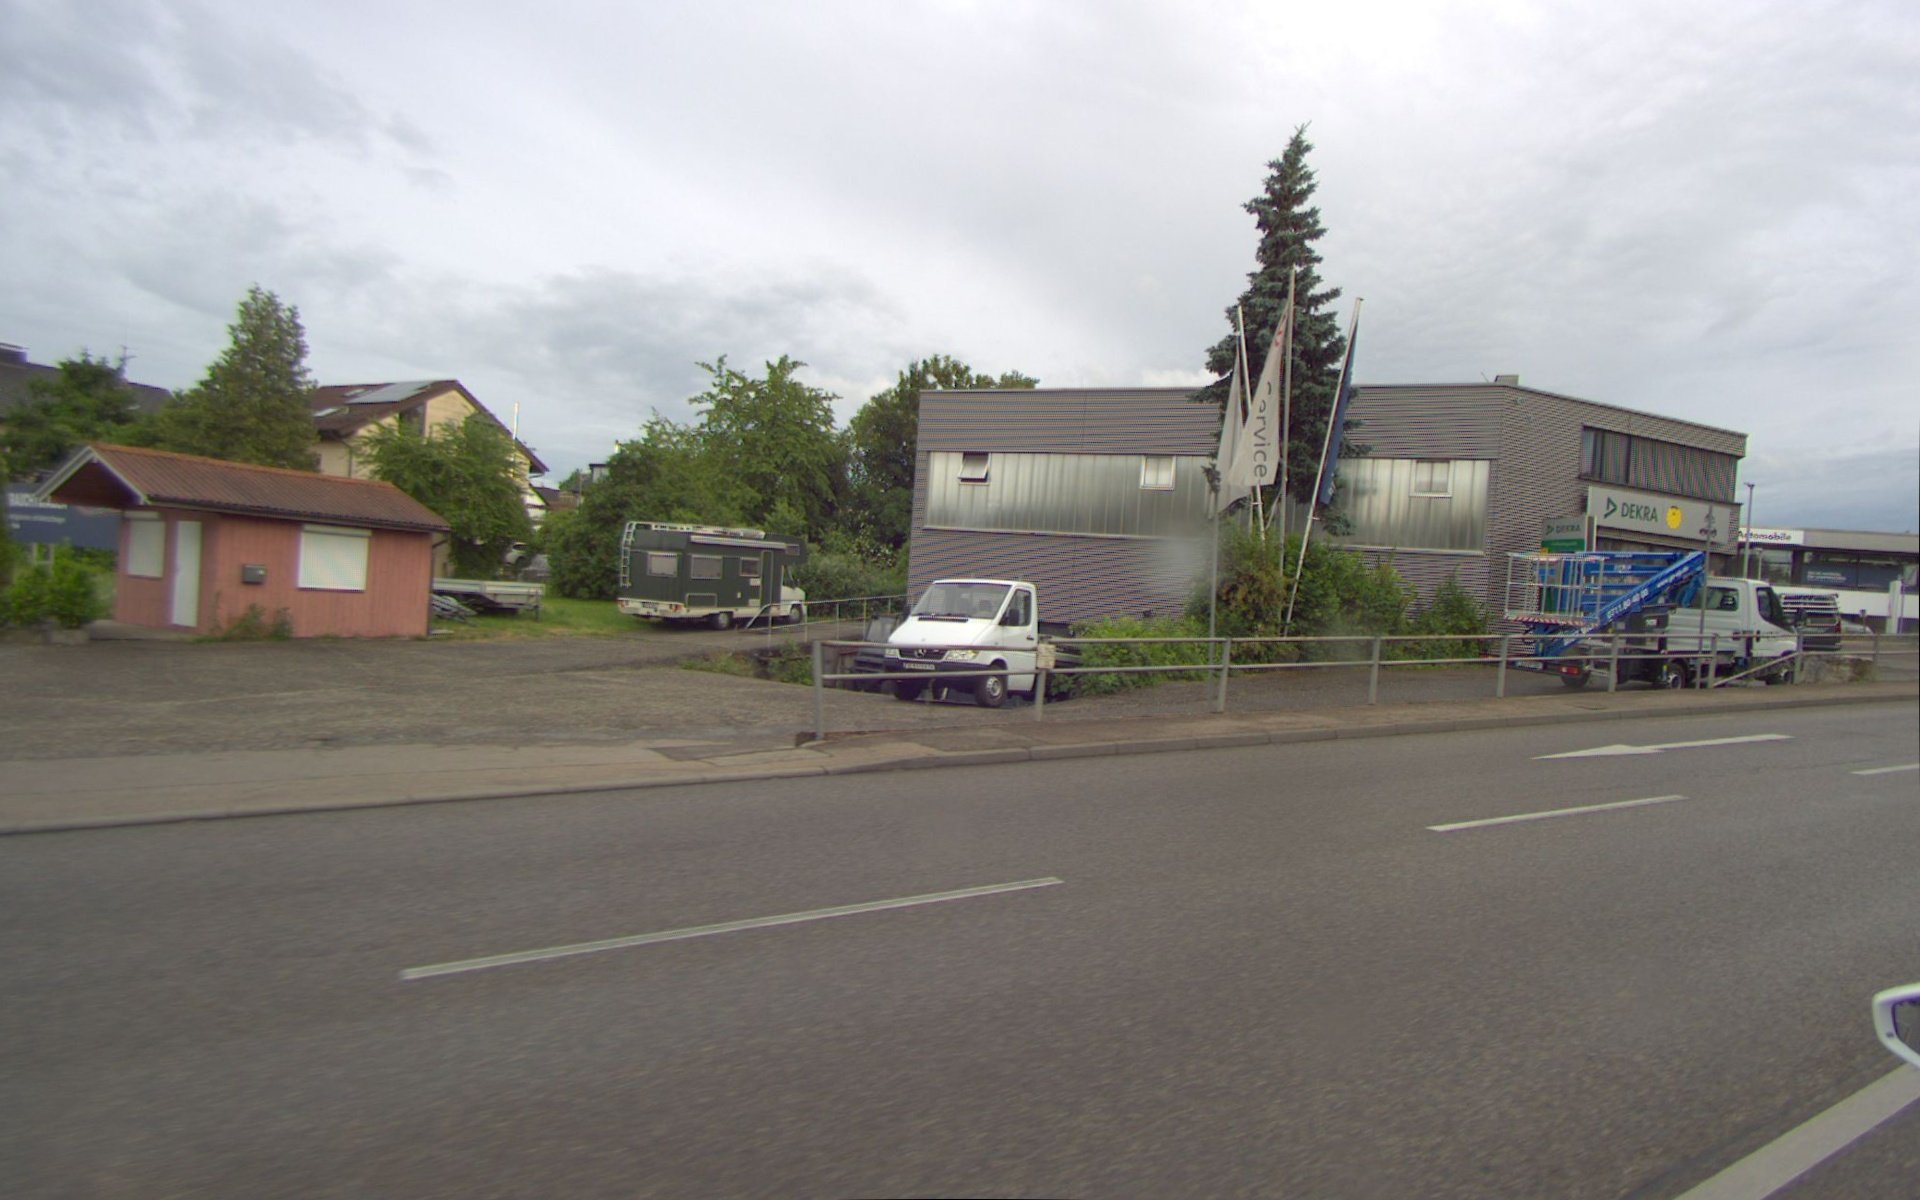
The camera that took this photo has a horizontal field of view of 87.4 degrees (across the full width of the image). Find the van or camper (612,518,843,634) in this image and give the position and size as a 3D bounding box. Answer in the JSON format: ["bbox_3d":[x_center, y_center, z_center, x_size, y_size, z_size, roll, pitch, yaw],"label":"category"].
[{"bbox_3d":[-6.869,-0.779,31.239,2.430,2.934,8.111,7,4,24],"label":"van or camper"}]

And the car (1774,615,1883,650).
[{"bbox_3d":[42.255,1.536,48.987,1.852,1.447,4.106,2,1,3],"label":"car"}]

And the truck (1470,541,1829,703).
[{"bbox_3d":[13.280,0.349,19.154,7.785,2.668,1.987,0,1,-26],"label":"truck"}]

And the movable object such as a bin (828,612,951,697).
[{"bbox_3d":[-1.810,1.439,27.143,1.632,2.040,3.999,2,-1,23],"label":"movable object such as a bin"}]

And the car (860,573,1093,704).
[{"bbox_3d":[0.429,0.572,17.224,2.028,1.896,4.271,3,1,32],"label":"car"}]

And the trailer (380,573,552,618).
[{"bbox_3d":[-13.883,-0.123,28.186,4.787,1.042,2.096,3,0,32],"label":"trailer"}]

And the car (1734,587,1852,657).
[{"bbox_3d":[26.867,0.641,32.576,1.964,2.014,4.868,3,2,29],"label":"car"}]
